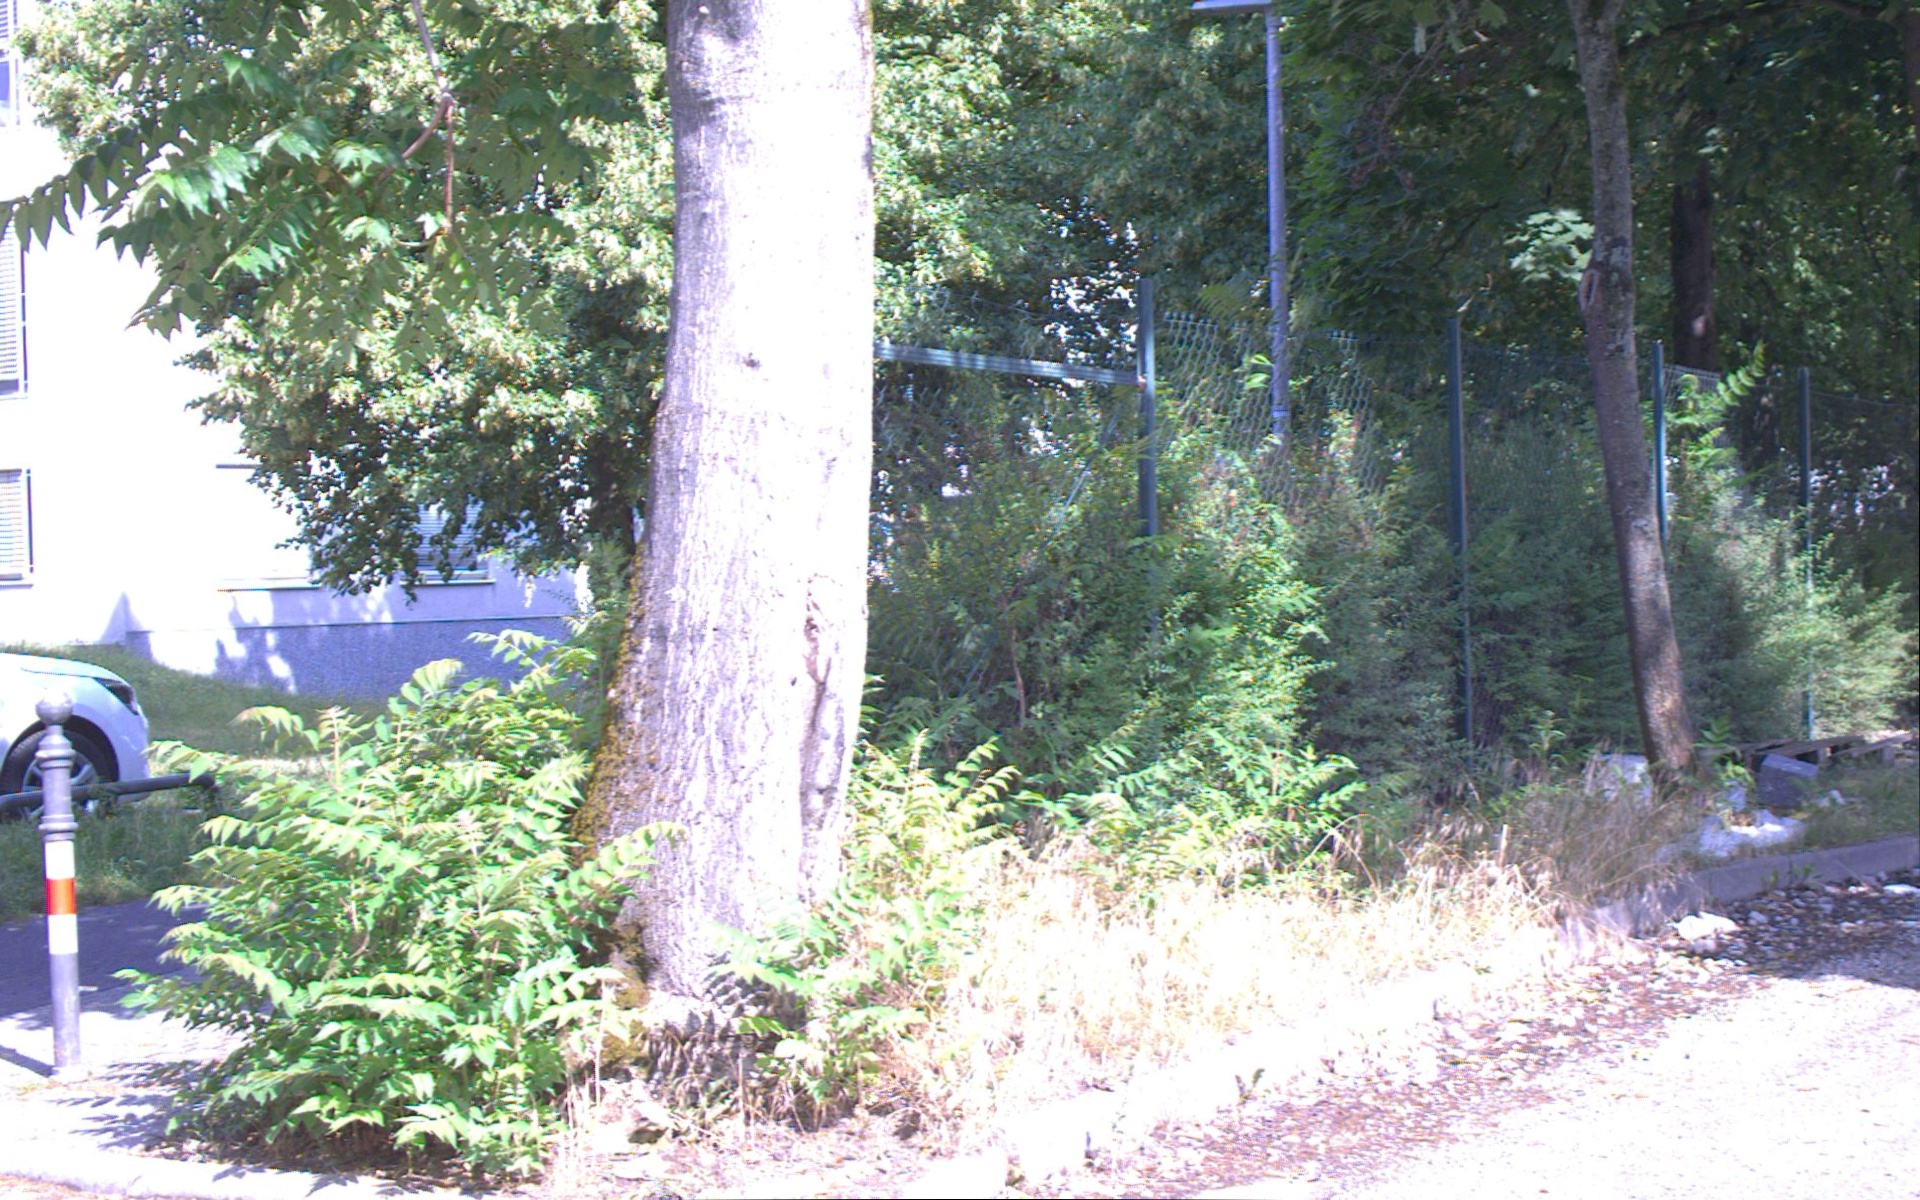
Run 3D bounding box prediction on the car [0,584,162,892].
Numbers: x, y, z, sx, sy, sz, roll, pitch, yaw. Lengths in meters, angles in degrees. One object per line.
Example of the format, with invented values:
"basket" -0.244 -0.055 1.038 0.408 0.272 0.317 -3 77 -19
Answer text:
"car" -5.929 0.634 16.133 1.757 1.415 3.907 4 2 42
